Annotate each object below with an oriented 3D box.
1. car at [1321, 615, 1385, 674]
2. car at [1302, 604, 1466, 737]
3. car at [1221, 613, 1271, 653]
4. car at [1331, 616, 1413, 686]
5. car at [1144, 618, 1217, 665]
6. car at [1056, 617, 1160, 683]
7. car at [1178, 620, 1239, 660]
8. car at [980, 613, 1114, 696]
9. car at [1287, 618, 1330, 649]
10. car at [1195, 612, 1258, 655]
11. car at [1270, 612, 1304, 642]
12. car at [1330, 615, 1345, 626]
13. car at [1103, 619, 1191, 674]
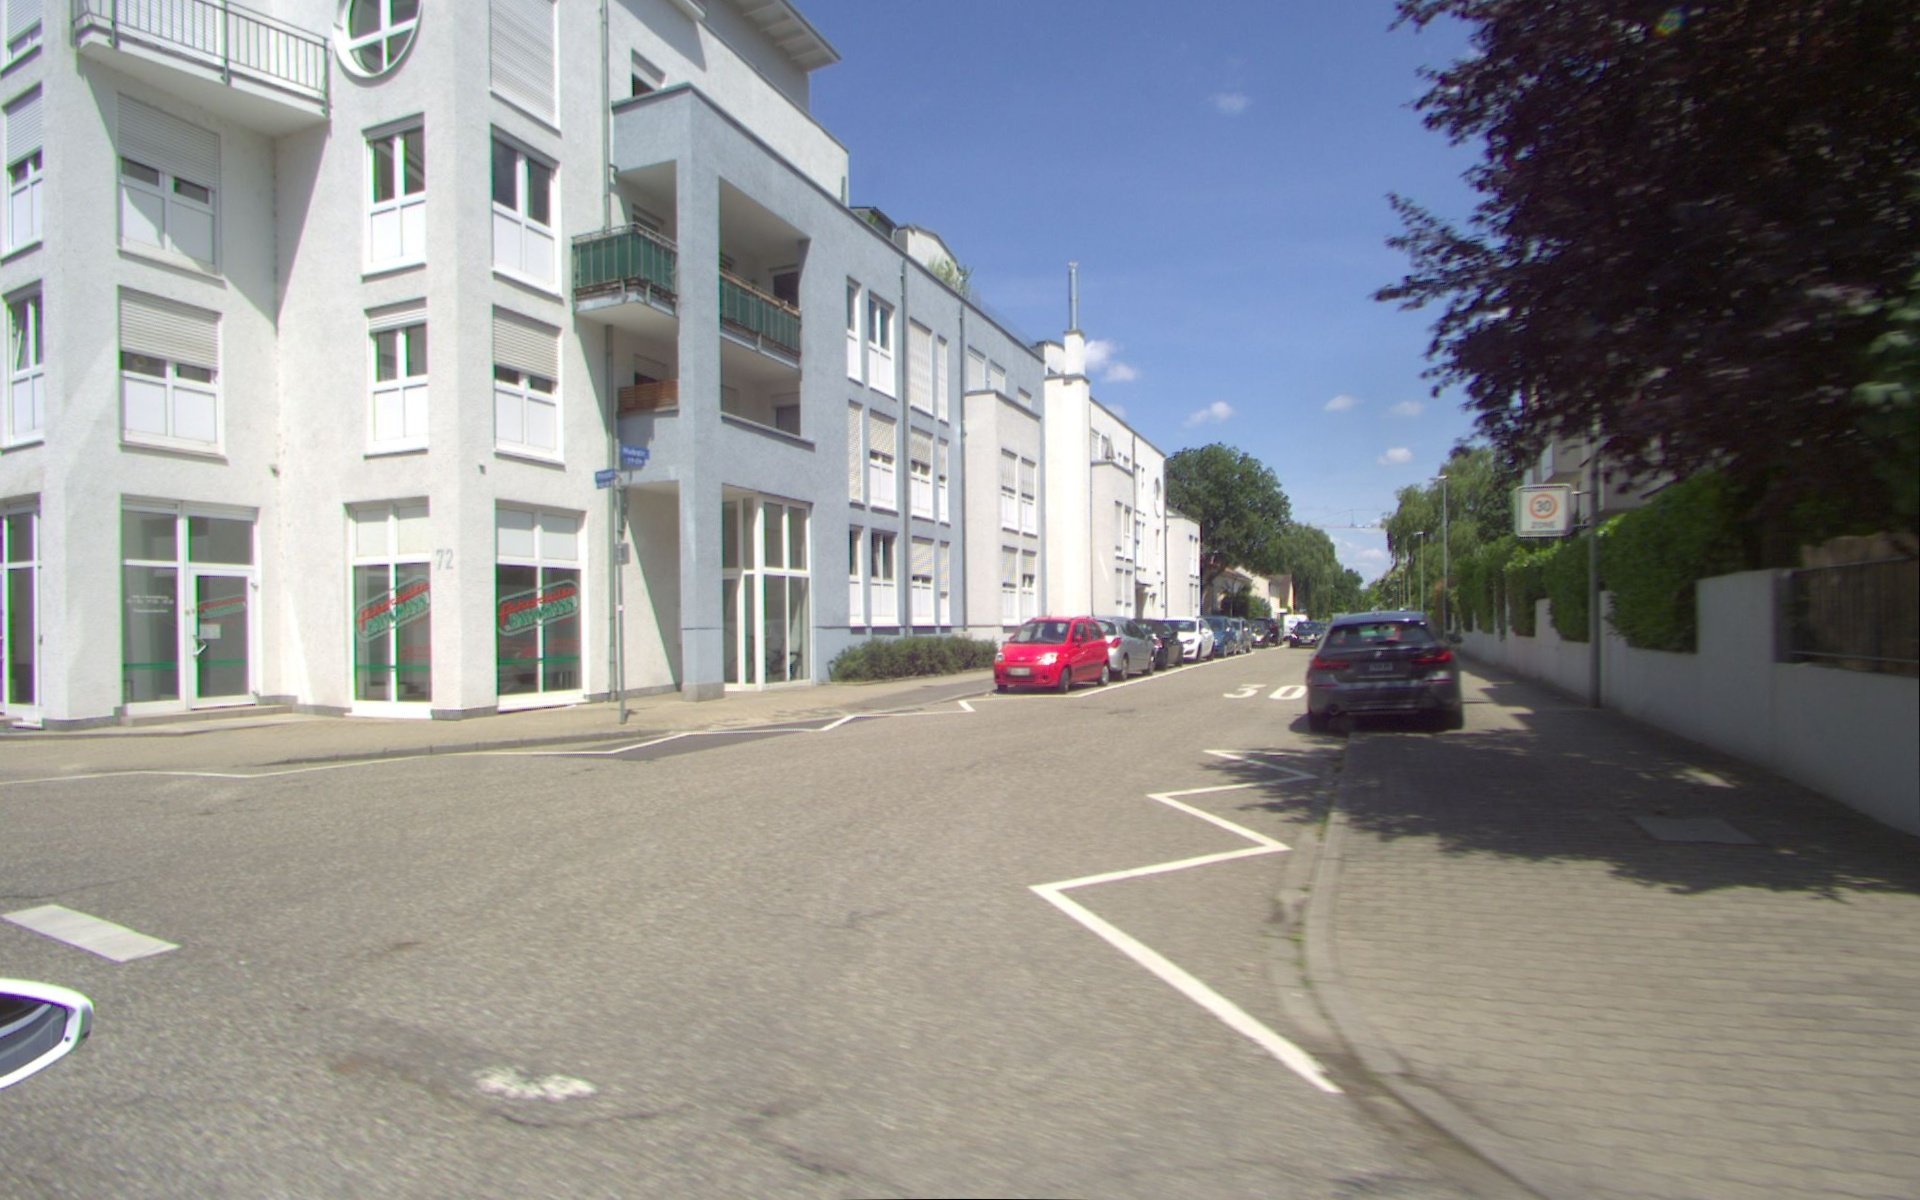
[{"bbox_3d":[11.423,1.252,28.979,1.510,1.577,3.775,-1,-2,24],"label":"car"},{"bbox_3d":[5.674,0.832,13.396,1.709,1.487,3.988,-2,-1,24],"label":"car"},{"bbox_3d":[15.517,1.841,54.215,1.968,2.038,3.990,-1,-4,25],"label":"car"},{"bbox_3d":[9.541,1.148,23.282,1.626,1.485,3.778,-1,-2,22],"label":"car"},{"bbox_3d":[7.357,1.356,33.265,1.627,1.485,3.572,-1,-2,25],"label":"car"},{"bbox_3d":[3.726,1.189,24.683,1.511,1.485,3.774,-1,-2,25],"label":"car"},{"bbox_3d":[9.701,1.551,38.953,1.627,1.485,3.572,-1,-2,25],"label":"car"},{"bbox_3d":[1.880,1.077,20.711,1.571,1.561,3.505,-1,-2,27],"label":"car"},{"bbox_3d":[19.399,1.907,55.572,1.967,1.593,3.992,-1,-4,23],"label":"car"},{"bbox_3d":[11.599,1.448,43.384,1.968,1.777,3.988,-1,-2,25],"label":"car"},{"bbox_3d":[23.805,2.022,72.779,1.967,2.038,3.992,-1,-4,24],"label":"car"},{"bbox_3d":[61.146,3.352,162.184,1.967,1.817,3.989,-1,-1,24],"label":"car"},{"bbox_3d":[5.517,1.326,29.222,1.627,1.485,3.774,-1,-2,25],"label":"car"}]
